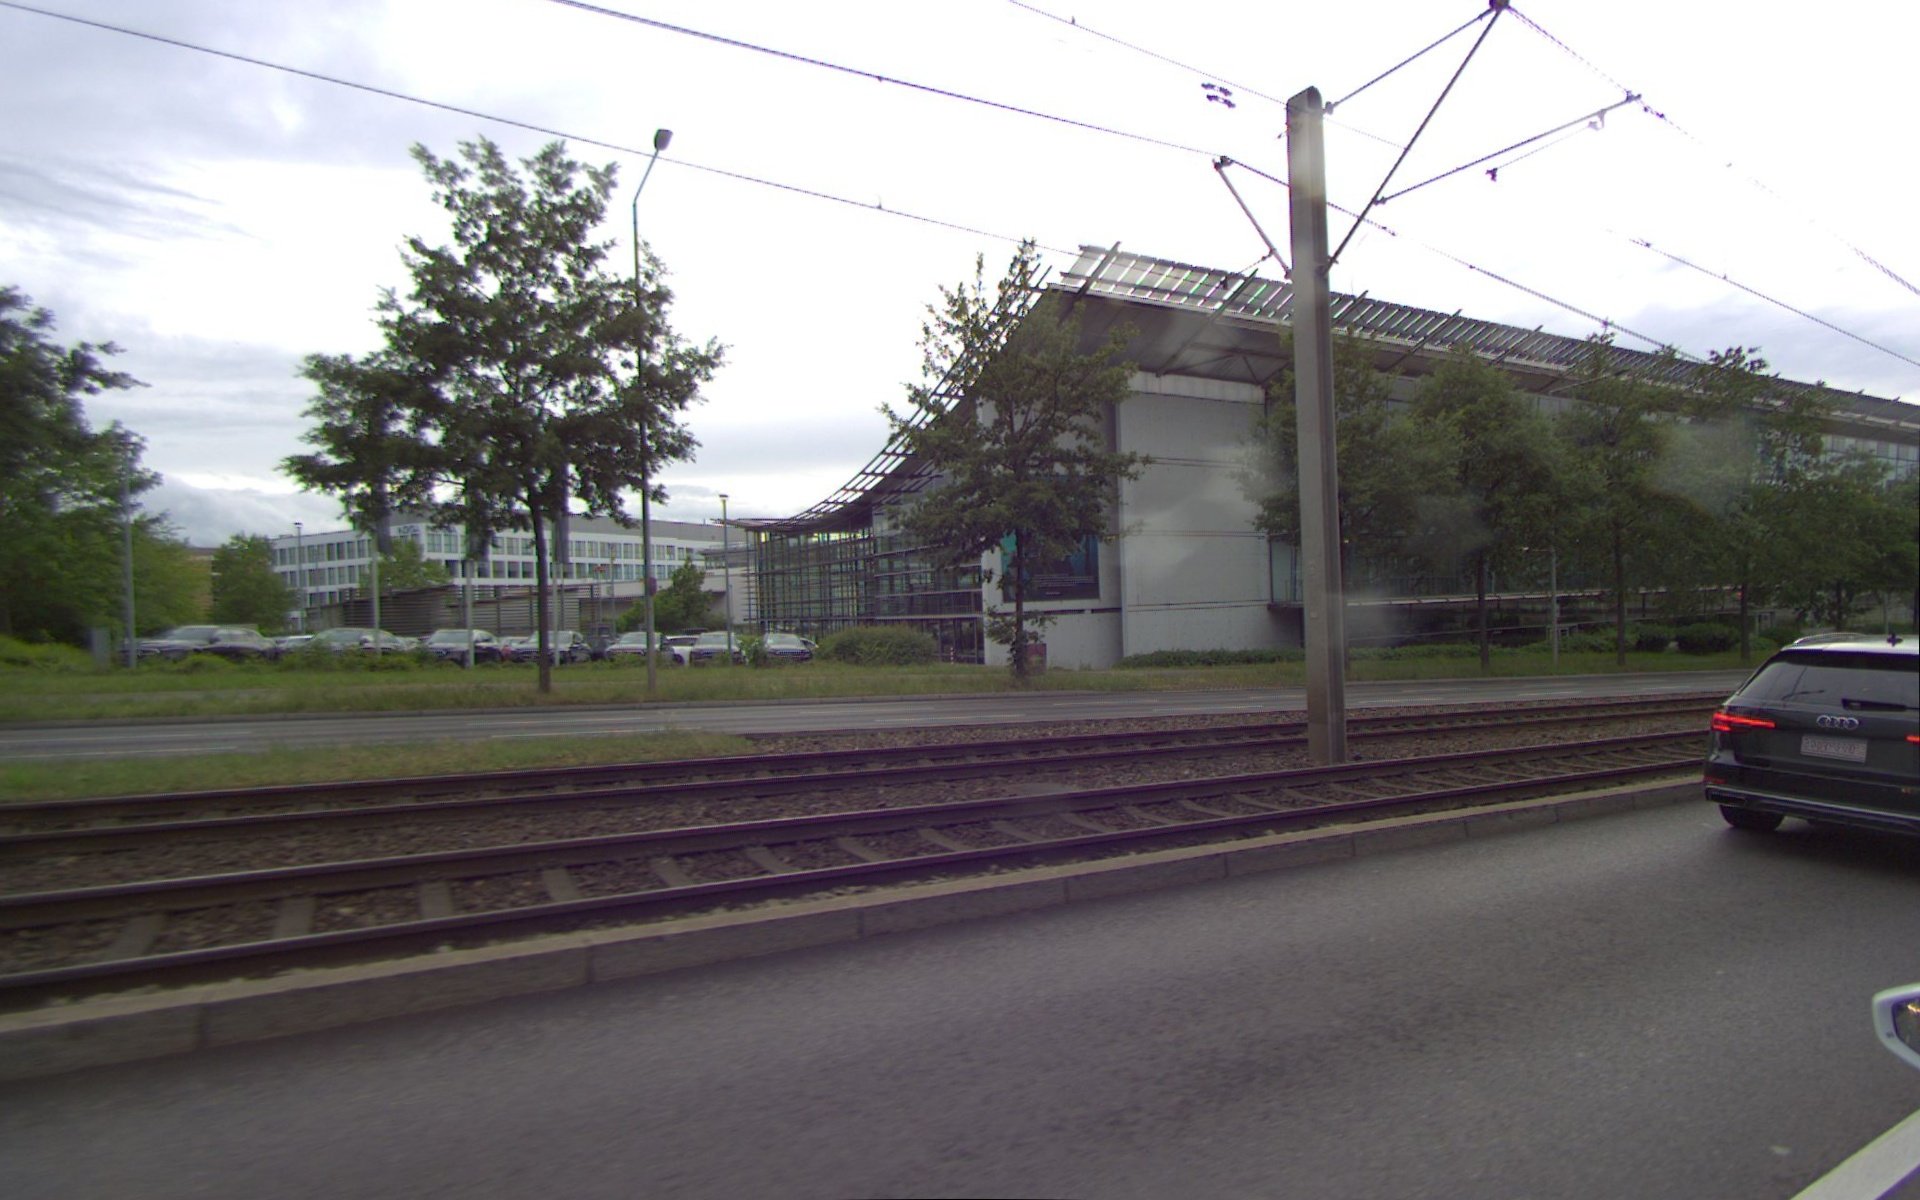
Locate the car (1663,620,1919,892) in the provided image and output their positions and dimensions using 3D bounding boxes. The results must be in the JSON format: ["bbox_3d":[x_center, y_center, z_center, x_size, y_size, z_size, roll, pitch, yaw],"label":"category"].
[{"bbox_3d":[7.166,0.932,7.180,4.572,1.483,1.755,1,1,-31],"label":"car"}]

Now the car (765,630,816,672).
[{"bbox_3d":[-6.584,1.953,39.257,1.770,1.409,3.995,2,0,-8],"label":"car"}]

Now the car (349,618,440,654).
[{"bbox_3d":[-25.250,1.581,45.030,1.768,1.409,4.000,2,0,0],"label":"car"}]

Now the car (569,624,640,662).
[{"bbox_3d":[-14.836,1.762,42.104,1.769,1.409,3.998,2,0,-4],"label":"car"}]

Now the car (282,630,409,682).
[{"bbox_3d":[-19.484,1.729,32.064,1.769,1.409,3.998,2,0,-4],"label":"car"}]

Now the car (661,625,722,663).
[{"bbox_3d":[-11.464,1.835,43.099,1.769,1.409,3.998,2,0,-4],"label":"car"}]

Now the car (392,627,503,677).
[{"bbox_3d":[-16.784,1.658,33.116,1.769,1.409,3.998,2,0,-4],"label":"car"}]

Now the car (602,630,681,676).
[{"bbox_3d":[-11.401,1.861,36.187,1.769,1.409,3.998,2,0,-4],"label":"car"}]

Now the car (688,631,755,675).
[{"bbox_3d":[-8.817,1.936,37.421,1.769,1.409,3.998,2,0,-4],"label":"car"}]

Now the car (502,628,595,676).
[{"bbox_3d":[-14.099,1.752,34.660,1.731,1.409,3.998,2,0,-4],"label":"car"}]

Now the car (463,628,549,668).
[{"bbox_3d":[-18.646,1.926,41.448,1.768,1.409,4.000,2,0,-1],"label":"car"}]

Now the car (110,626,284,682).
[{"bbox_3d":[-22.306,1.529,29.576,1.767,1.409,4.002,2,0,6],"label":"car"}]
